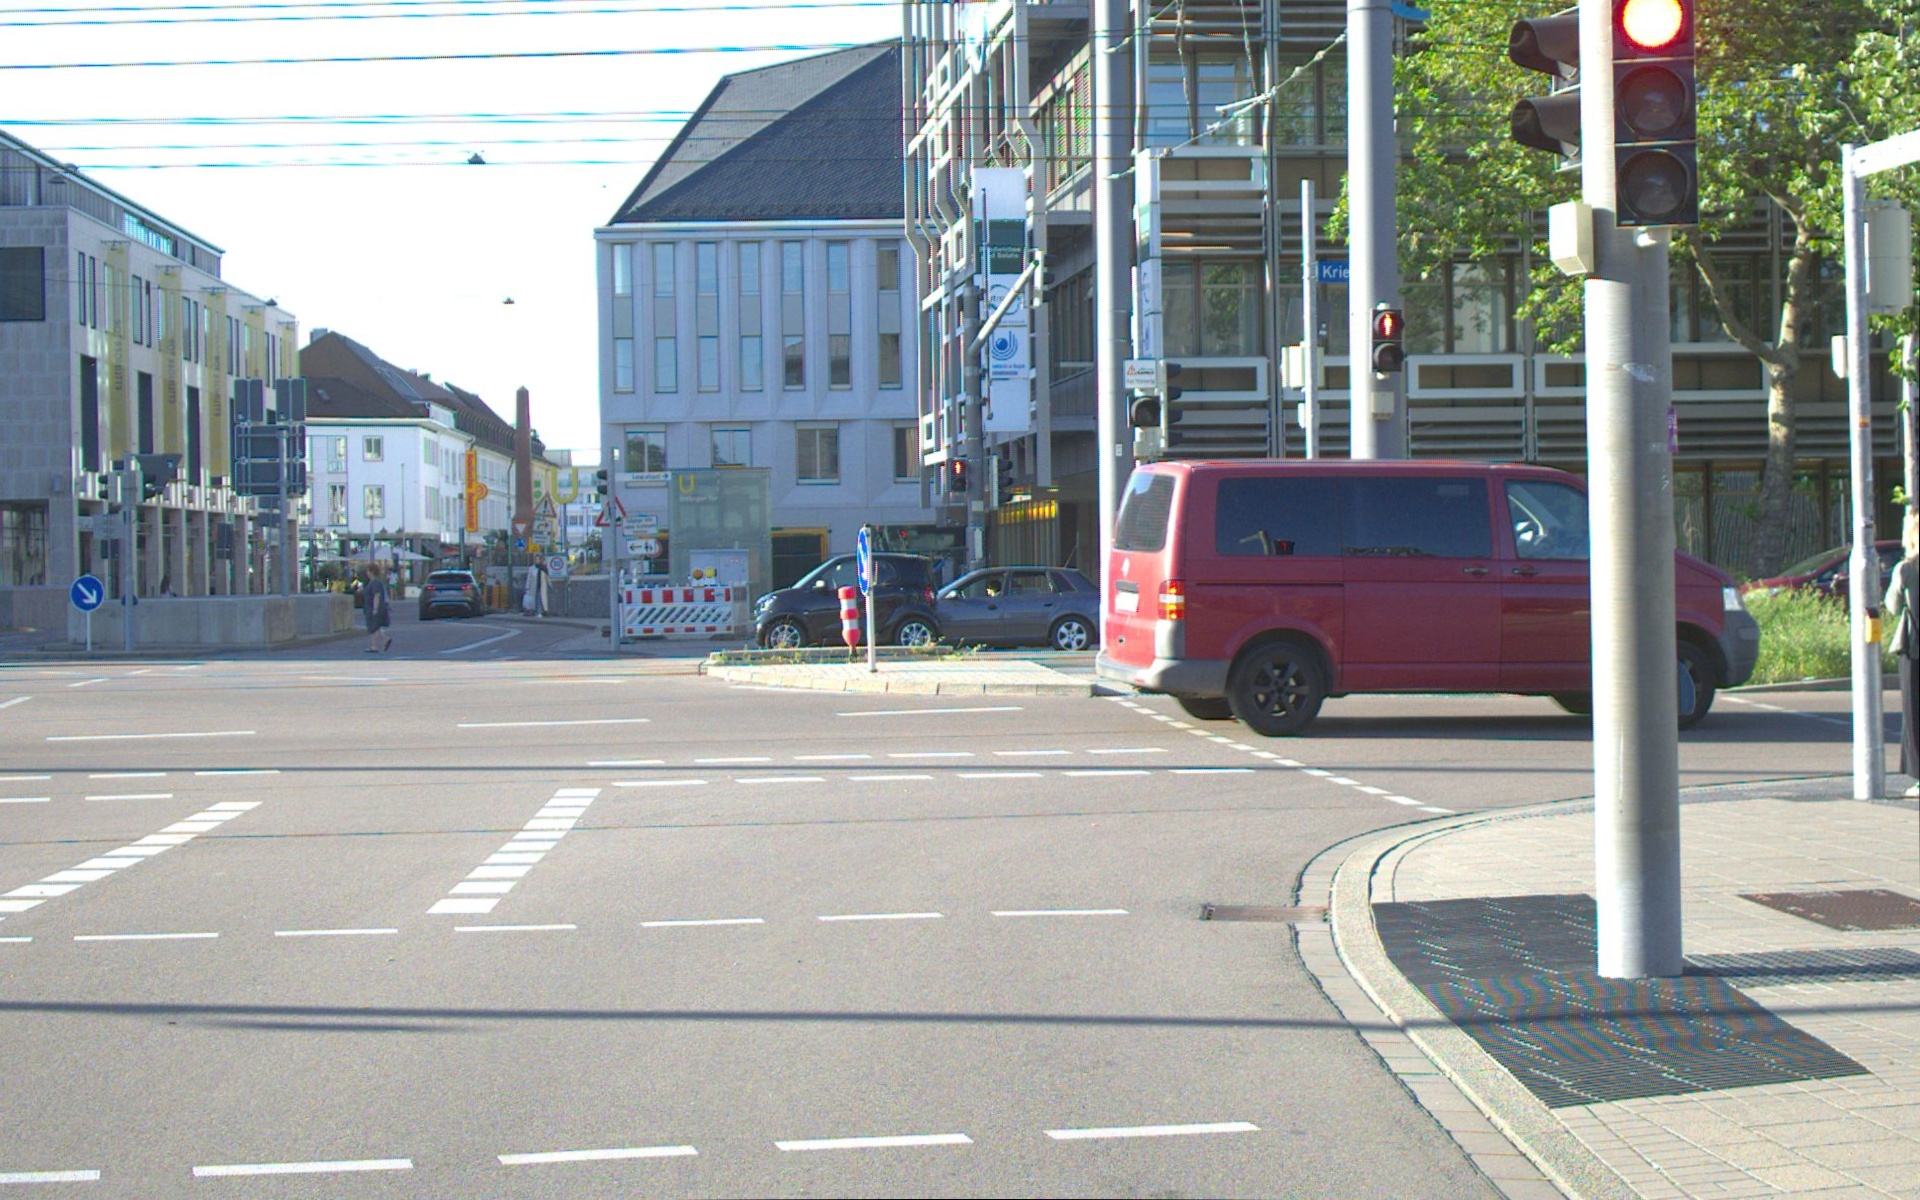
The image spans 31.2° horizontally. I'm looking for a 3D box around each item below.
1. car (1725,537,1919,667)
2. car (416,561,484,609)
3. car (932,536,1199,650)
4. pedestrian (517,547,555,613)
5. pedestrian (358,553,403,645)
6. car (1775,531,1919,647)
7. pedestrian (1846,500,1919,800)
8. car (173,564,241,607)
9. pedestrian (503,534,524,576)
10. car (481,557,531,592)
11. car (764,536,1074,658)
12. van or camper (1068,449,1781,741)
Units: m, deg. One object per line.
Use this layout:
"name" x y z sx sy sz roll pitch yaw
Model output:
"car" 12.738 -0.002 46.486 4.287 1.678 1.826 -1 1 -11
"car" -16.015 -0.479 108.084 1.658 1.453 3.542 -1 1 -1
"car" 1.616 -0.126 53.494 3.986 1.678 1.826 -1 1 -3
"pedestrian" -11.482 -0.540 93.124 0.899 1.776 0.808 -1 1 -1
"pedestrian" -10.734 -0.029 63.700 0.700 1.682 0.619 -1 1 0
"car" 14.869 -0.202 51.520 4.844 1.678 1.826 -1 1 -3
"pedestrian" 5.392 0.258 18.937 0.765 1.608 0.874 -1 1 -2
"car" -26.631 -0.533 121.707 1.658 1.453 3.542 -1 1 -1
"pedestrian" -21.392 -2.155 164.691 0.910 1.958 0.823 1 0 -1
"car" -19.228 -1.096 145.800 1.658 1.453 3.542 -1 1 -1
"car" -0.631 -0.066 49.990 4.403 1.678 1.826 -1 1 -3
"van or camper" 3.408 -0.073 25.535 4.825 2.007 2.008 -1 1 -13
